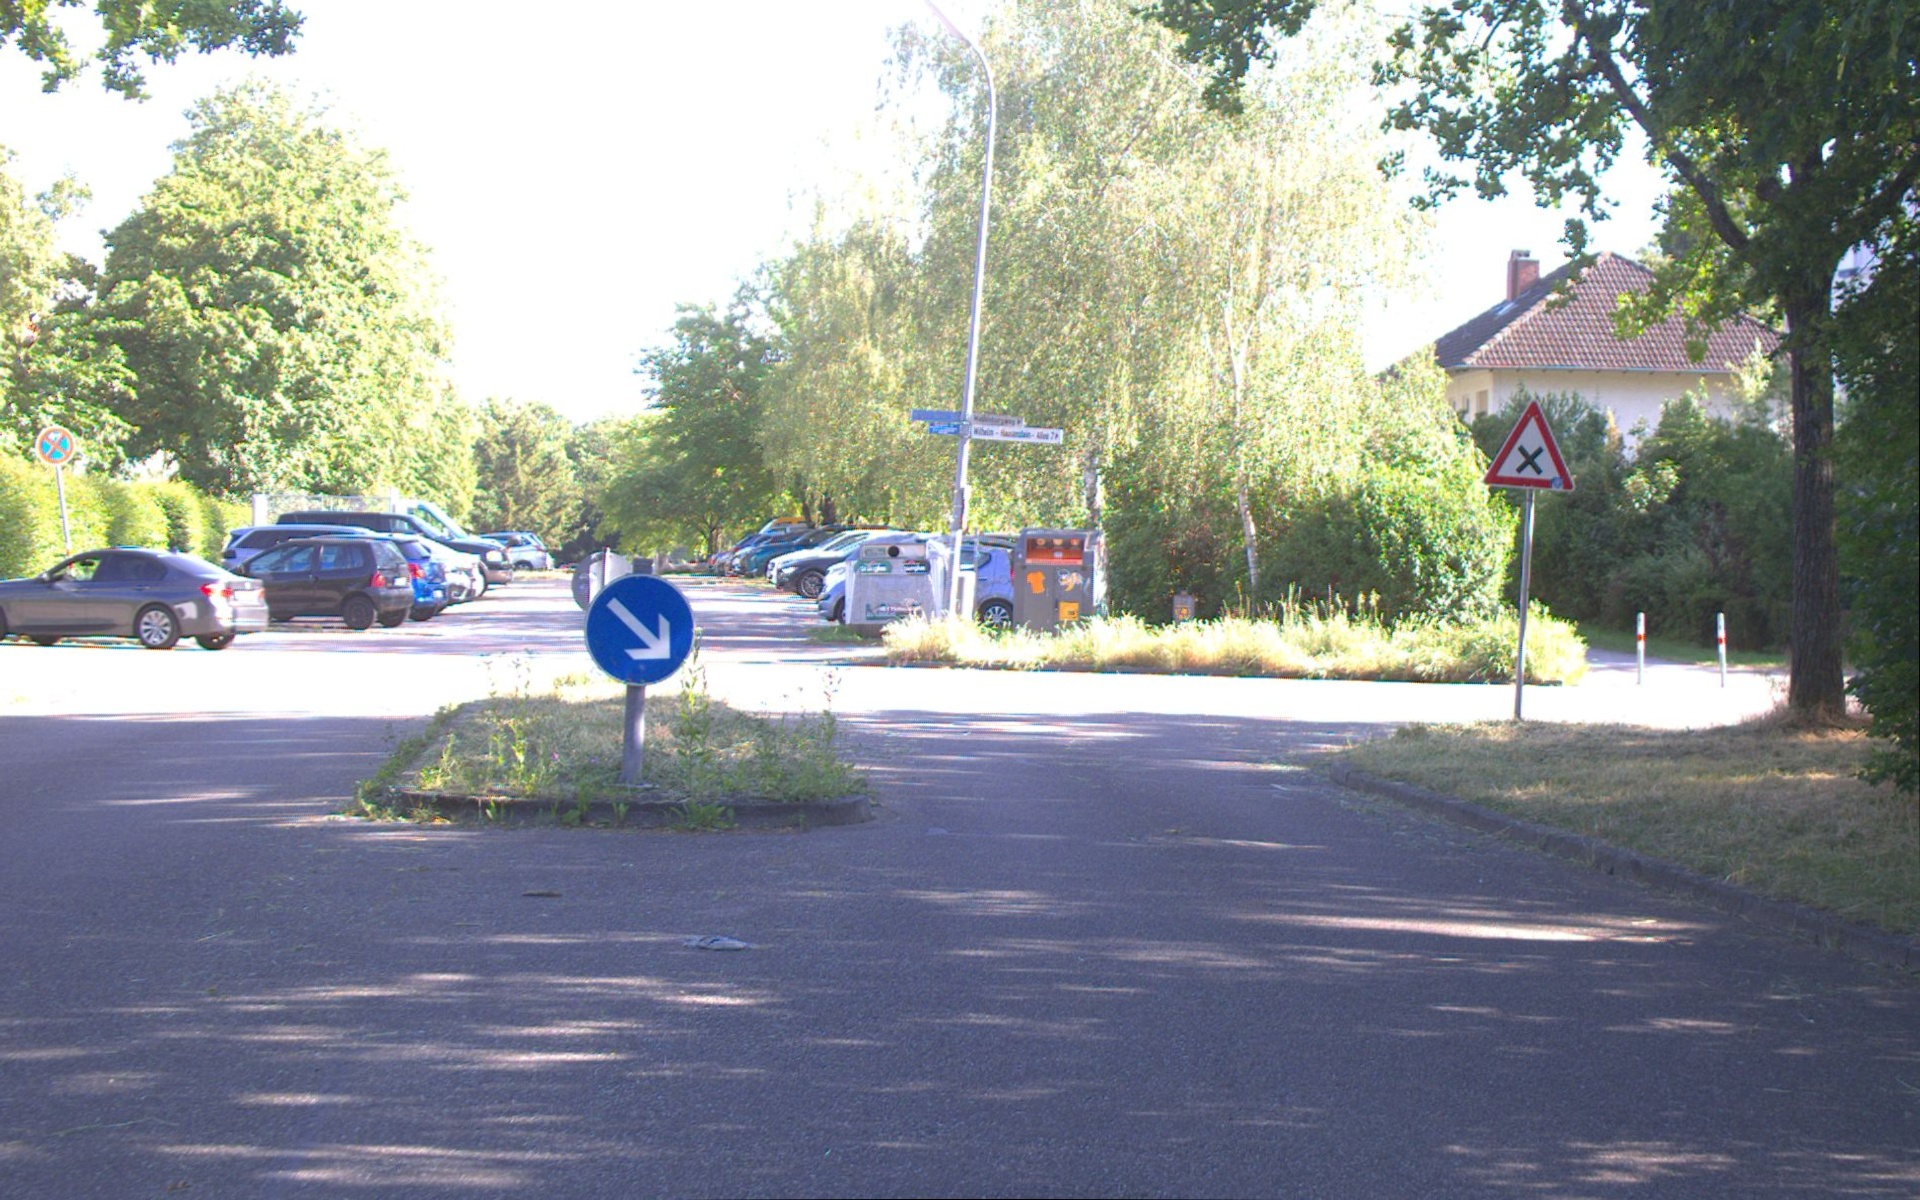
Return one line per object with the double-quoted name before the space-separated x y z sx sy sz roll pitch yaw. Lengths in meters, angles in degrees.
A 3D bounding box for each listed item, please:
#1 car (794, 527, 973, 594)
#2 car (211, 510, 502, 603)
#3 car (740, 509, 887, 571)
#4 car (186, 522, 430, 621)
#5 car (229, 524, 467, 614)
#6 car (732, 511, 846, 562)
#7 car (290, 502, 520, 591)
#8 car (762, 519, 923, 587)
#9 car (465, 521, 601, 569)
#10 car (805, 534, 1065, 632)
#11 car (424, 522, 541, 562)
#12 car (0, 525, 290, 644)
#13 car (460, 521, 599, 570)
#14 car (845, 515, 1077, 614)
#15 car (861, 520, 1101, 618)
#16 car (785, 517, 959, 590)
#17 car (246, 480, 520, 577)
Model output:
"car" -1.745 -0.894 78.092 3.986 1.396 1.798 2 1 -1
"car" -10.962 -0.803 62.639 4.992 1.649 1.784 0 1 1
"car" -4.063 -1.658 95.524 3.986 1.580 1.798 2 0 -1
"car" -10.617 -0.482 56.087 3.524 1.461 1.703 2 3 12
"car" -10.436 -0.548 58.727 3.681 1.491 1.651 0 1 8
"car" -6.153 -2.292 124.007 3.986 1.702 1.798 2 0 -1
"car" -11.631 -1.122 72.229 4.522 1.765 1.847 1 1 0
"car" -2.969 -1.181 87.123 3.986 1.580 1.798 2 0 -1
"car" -12.724 -1.645 102.584 3.939 1.329 1.847 1 1 -5
"car" -0.401 -0.287 56.915 4.054 1.434 1.634 2 1 8
"car" -16.669 -2.027 120.184 3.939 1.329 1.847 1 1 -5
"car" -11.939 -0.236 49.553 4.066 1.637 1.882 1 1 18
"car" -12.510 -1.589 100.110 3.939 1.329 1.847 1 1 -5
"car" -0.001 -0.685 65.374 4.102 1.700 1.791 2 2 -11
"car" 0.366 -0.564 62.471 4.051 1.597 1.791 2 2 -10
"car" -2.074 -1.092 80.951 3.986 1.580 1.798 2 0 -1
"car" -13.593 -1.691 81.365 6.255 2.139 2.411 1 1 -7
